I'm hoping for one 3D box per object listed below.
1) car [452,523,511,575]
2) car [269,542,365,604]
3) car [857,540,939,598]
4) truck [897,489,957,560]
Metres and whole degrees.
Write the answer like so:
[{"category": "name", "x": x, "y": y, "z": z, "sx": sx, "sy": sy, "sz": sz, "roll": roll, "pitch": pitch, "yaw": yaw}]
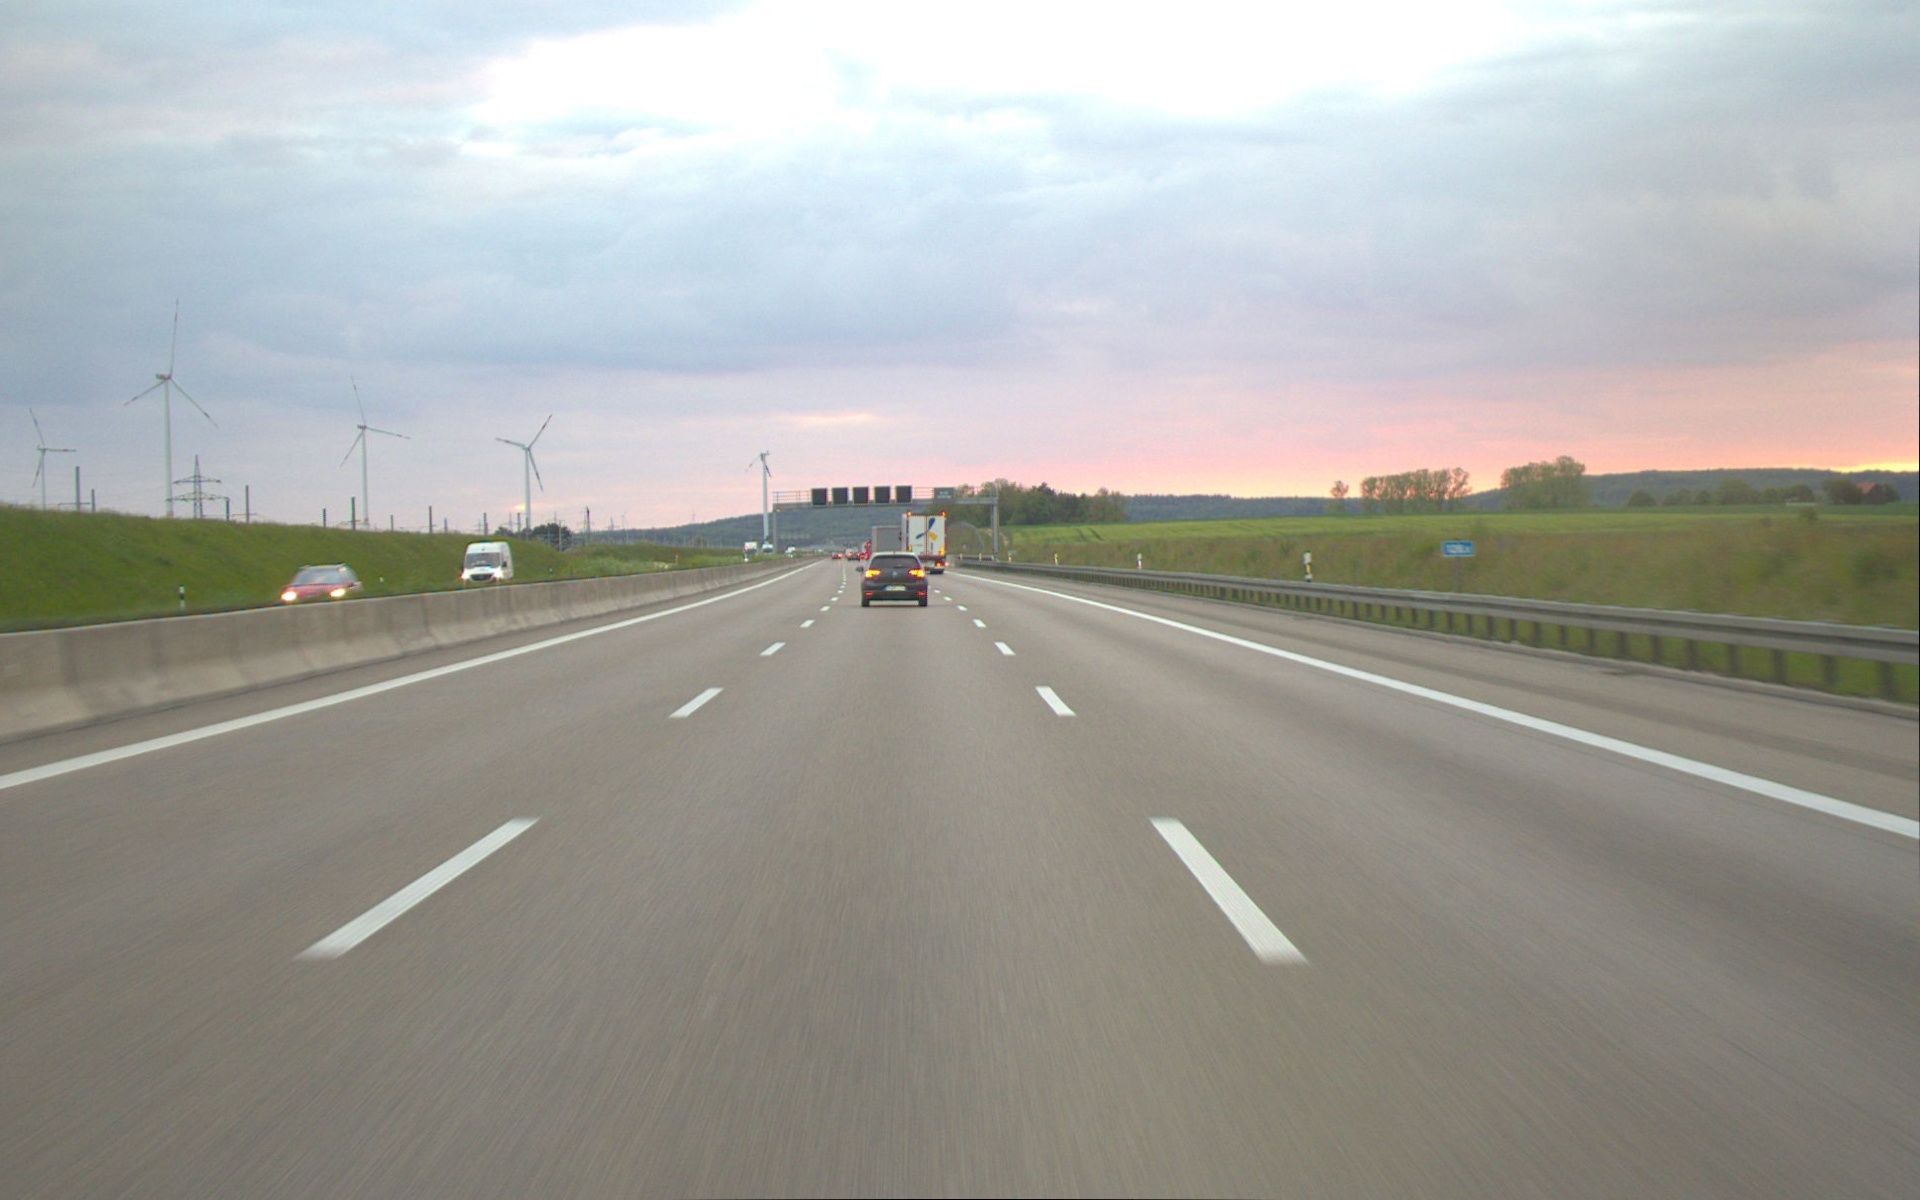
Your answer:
[{"category": "car", "x": -24.184, "y": -2.603, "z": 174.013, "sx": 1.993, "sy": 2.538, "sz": 7.378, "roll": -1, "pitch": 1, "yaw": -1}, {"category": "car", "x": -17.600, "y": -0.757, "z": 94.278, "sx": 1.853, "sy": 1.587, "sz": 4.106, "roll": -2, "pitch": 1, "yaw": -1}, {"category": "car", "x": -1.610, "y": -0.840, "z": 90.722, "sx": 1.987, "sy": 1.425, "sz": 4.000, "roll": -1, "pitch": 1, "yaw": 1}, {"category": "truck", "x": -2.253, "y": -5.000, "z": 229.217, "sx": 3.675, "sy": 4.549, "sz": 10.982, "roll": -1, "pitch": 1, "yaw": -2}]
